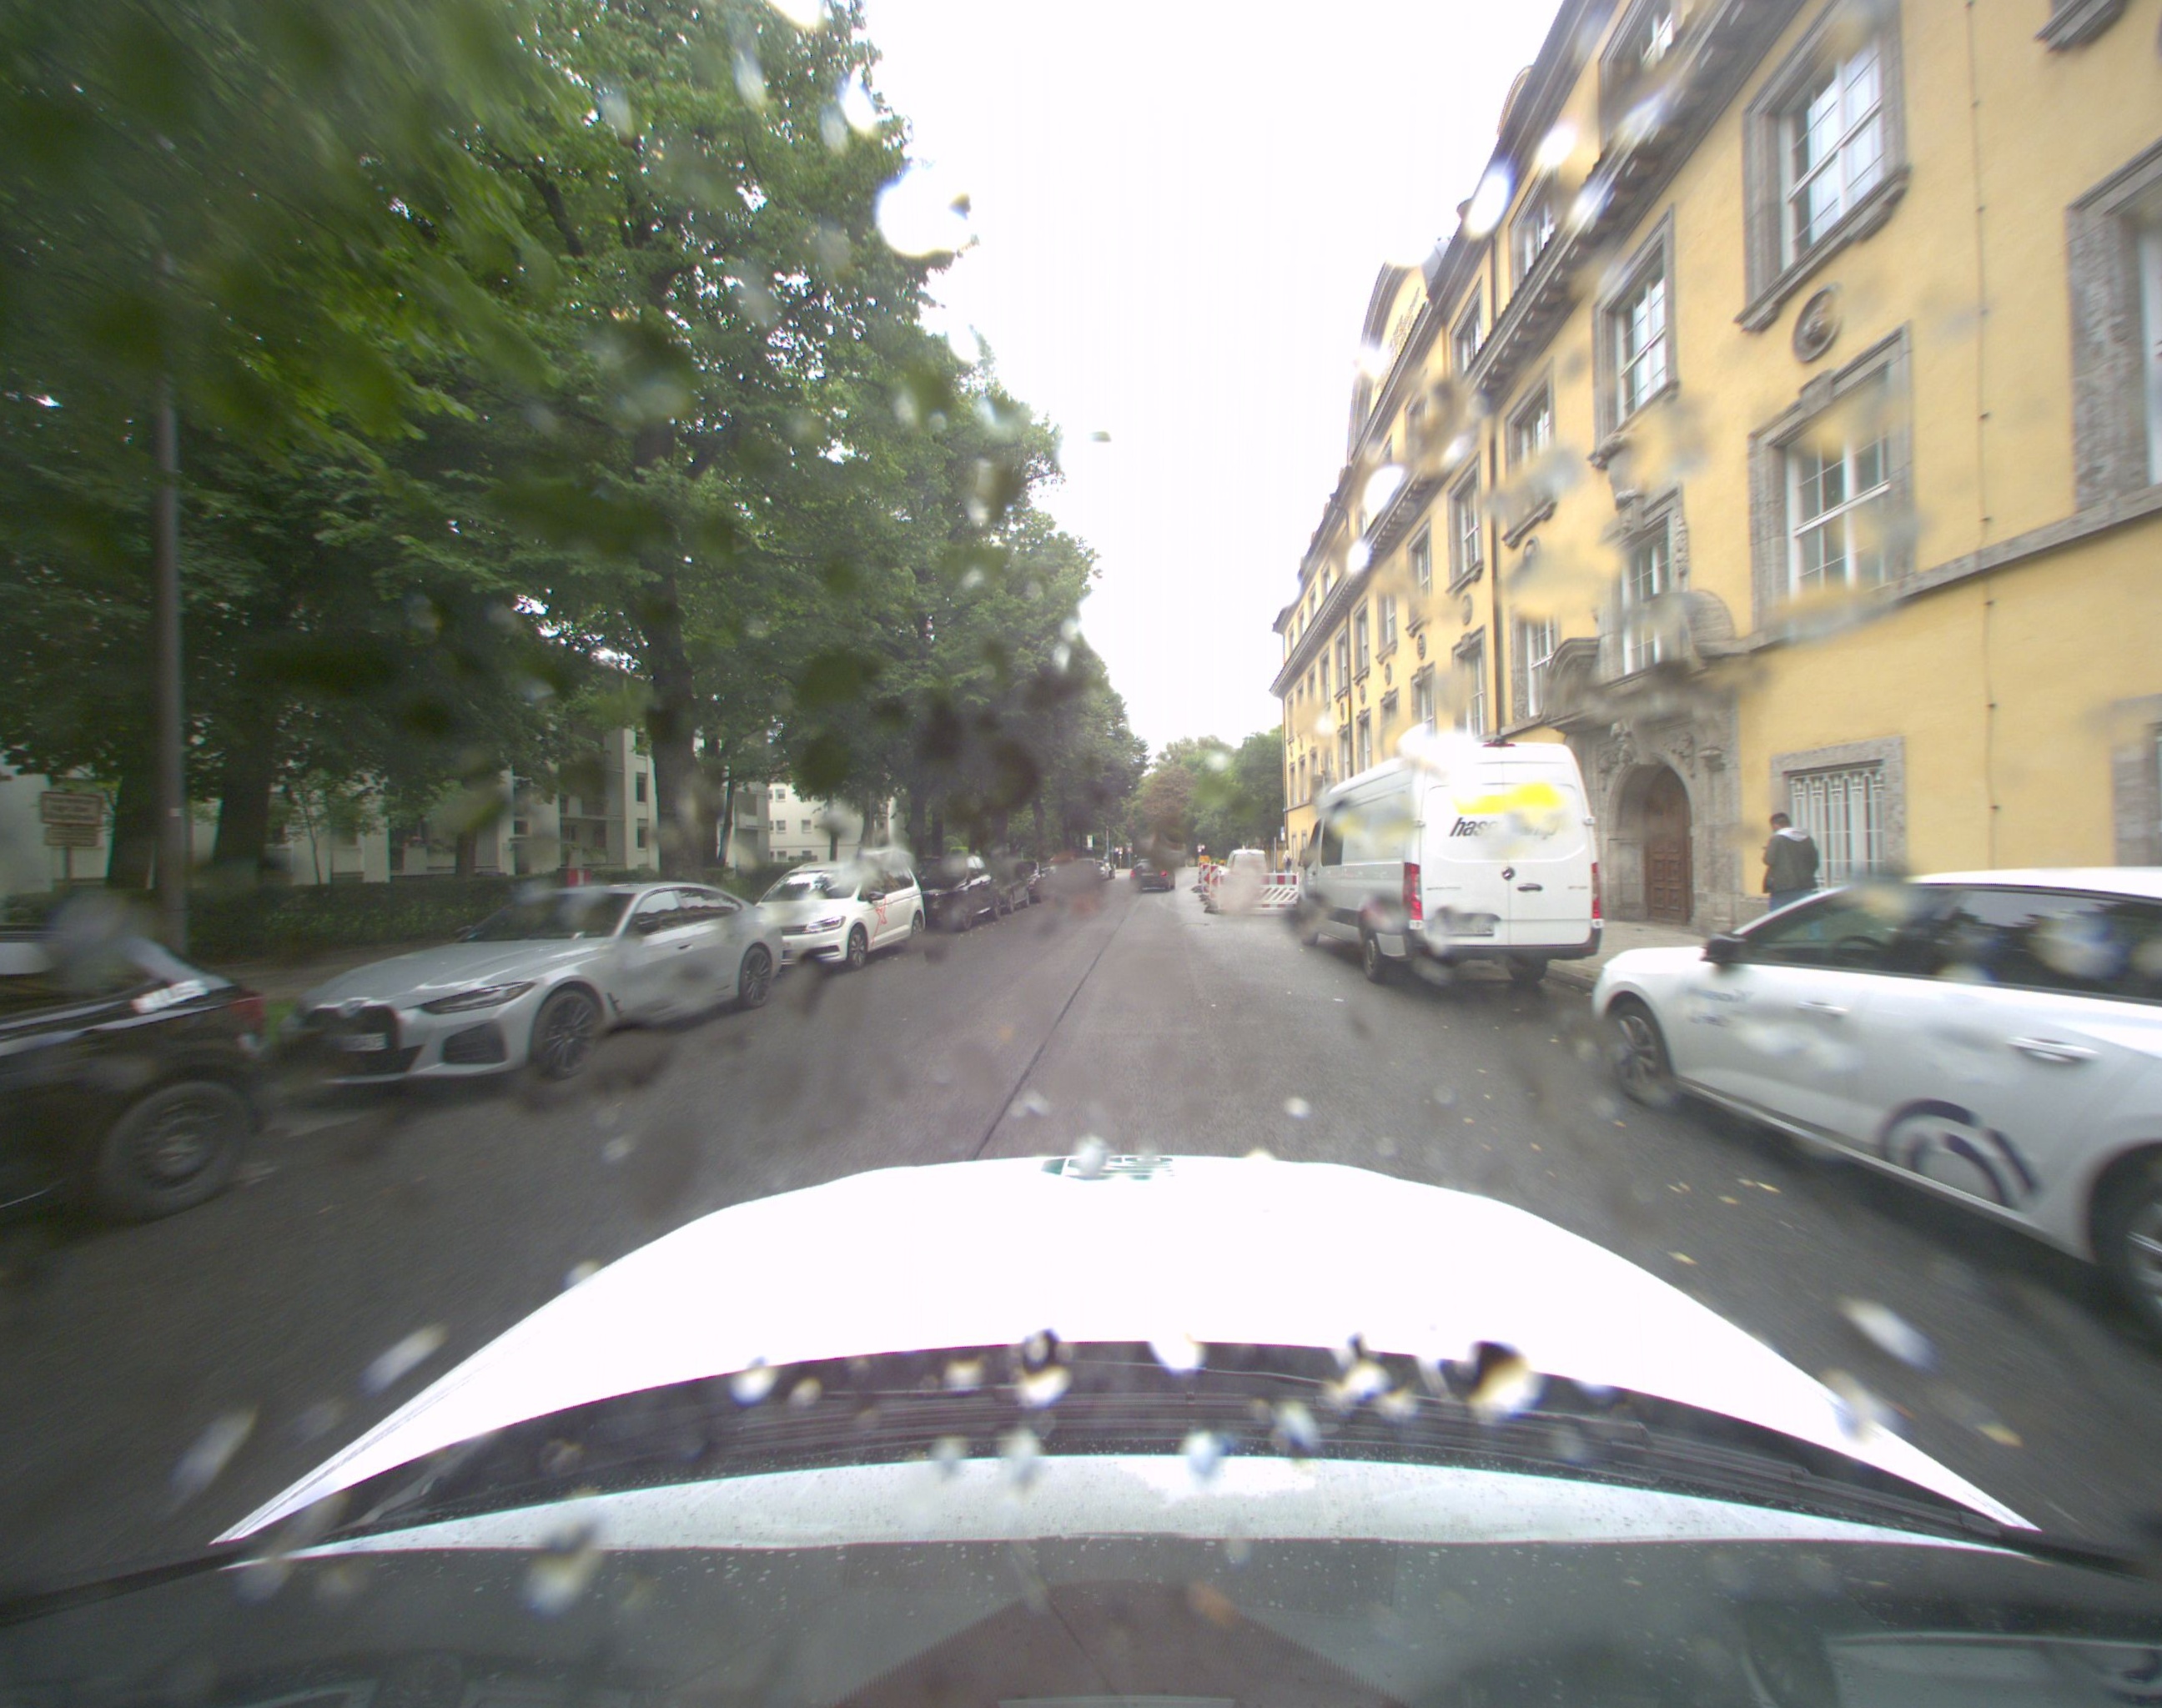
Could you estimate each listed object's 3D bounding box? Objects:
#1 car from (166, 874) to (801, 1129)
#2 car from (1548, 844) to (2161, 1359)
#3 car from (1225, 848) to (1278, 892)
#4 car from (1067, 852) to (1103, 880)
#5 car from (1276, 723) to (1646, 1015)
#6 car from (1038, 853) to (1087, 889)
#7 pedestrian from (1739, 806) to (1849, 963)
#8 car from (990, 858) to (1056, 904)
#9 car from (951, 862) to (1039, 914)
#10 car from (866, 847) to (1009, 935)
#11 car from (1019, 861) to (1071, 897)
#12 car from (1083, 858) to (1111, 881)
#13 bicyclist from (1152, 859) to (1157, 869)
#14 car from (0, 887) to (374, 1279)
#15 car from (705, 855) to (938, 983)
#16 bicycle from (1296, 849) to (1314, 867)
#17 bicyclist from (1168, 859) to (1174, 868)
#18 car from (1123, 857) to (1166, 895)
[{"bbox_3d":[-4.560,0.975,7.494,1.800,1.469,5.005,-1,-1,6],"label":"car"},{"bbox_3d":[4.089,0.702,3.563,1.862,1.458,4.259,-1,-1,4],"label":"car"},{"bbox_3d":[7.465,0.707,35.923,1.731,1.750,4.361,-1,-1,5],"label":"car"},{"bbox_3d":[0.308,0.746,51.230,1.806,1.601,4.521,-1,-1,6],"label":"car"},{"bbox_3d":[4.431,0.182,11.389,2.045,2.673,7.622,-1,-1,4],"label":"car"},{"bbox_3d":[-0.902,0.875,42.386,1.862,1.728,4.650,-2,-1,7],"label":"car"},{"bbox_3d":[8.621,0.364,9.873,0.697,1.804,0.583,-3,-2,5],"label":"pedestrian"},{"bbox_3d":[-2.130,0.953,31.144,1.777,1.574,4.492,-1,0,5],"label":"car"},{"bbox_3d":[-2.607,0.996,25.762,1.709,1.451,4.704,-1,-1,7],"label":"car"},{"bbox_3d":[-3.299,0.815,19.850,1.983,1.797,4.930,-3,-1,7],"label":"car"},{"bbox_3d":[-1.555,1.076,36.643,1.719,1.423,4.257,-1,0,5],"label":"car"},{"bbox_3d":[1.125,1.054,56.907,1.569,1.497,4.206,-1,-1,6],"label":"car"},{"bbox_3d":[11.184,1.482,124.369,0.679,1.504,0.900,-2,-1,-3],"label":"bicyclist"},{"bbox_3d":[-5.070,0.926,2.703,1.664,1.469,4.108,-1,-1,4],"label":"car"},{"bbox_3d":[-3.920,0.906,13.263,1.756,1.622,4.532,-4,-1,7],"label":"car"},{"bbox_3d":[13.425,0.251,48.867,0.676,1.006,2.060,-1,-1,6],"label":"bicycle"},{"bbox_3d":[12.151,1.317,110.453,0.680,1.187,0.479,-2,-1,-9],"label":"bicyclist"},{"bbox_3d":[2.915,0.957,36.788,1.568,1.584,4.054,-2,-1,9],"label":"car"}]
